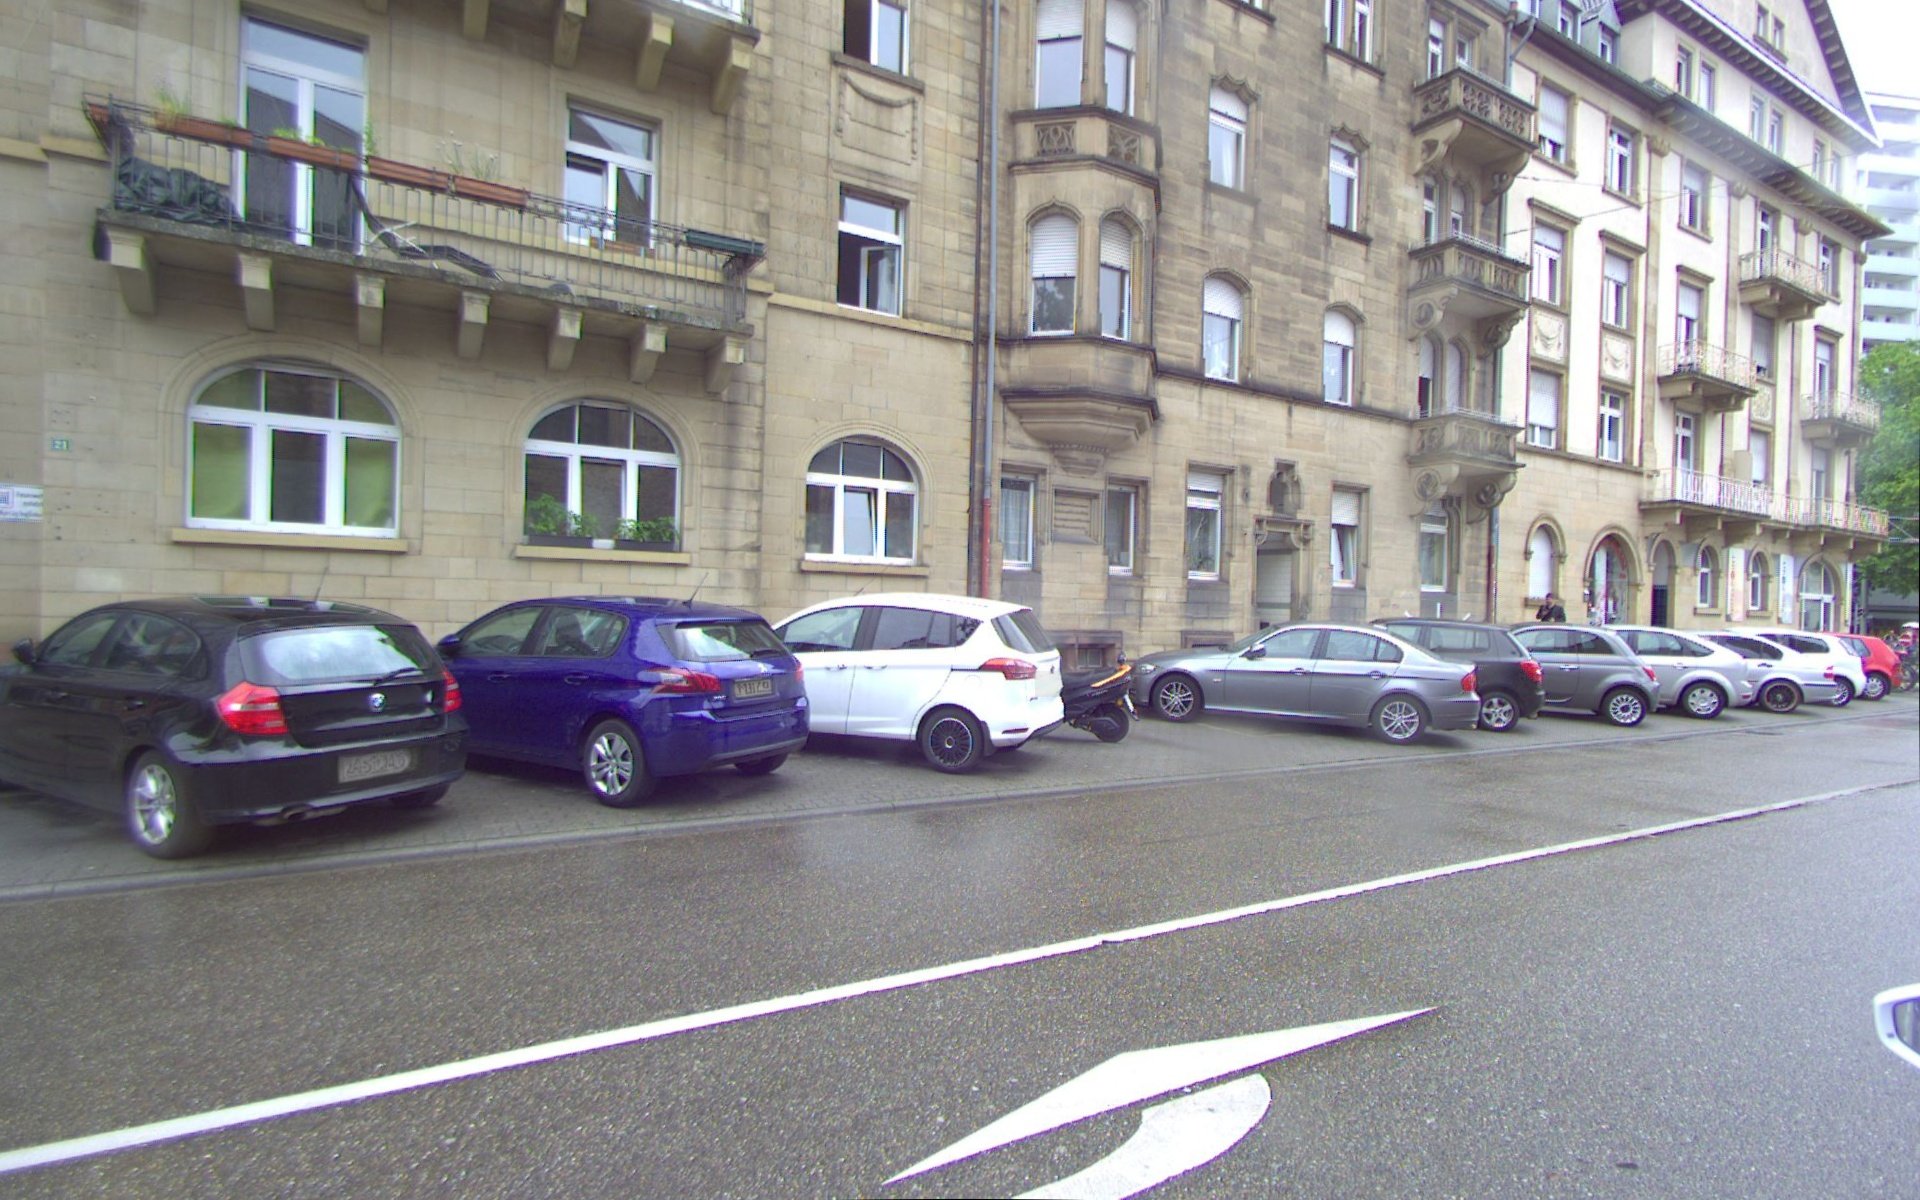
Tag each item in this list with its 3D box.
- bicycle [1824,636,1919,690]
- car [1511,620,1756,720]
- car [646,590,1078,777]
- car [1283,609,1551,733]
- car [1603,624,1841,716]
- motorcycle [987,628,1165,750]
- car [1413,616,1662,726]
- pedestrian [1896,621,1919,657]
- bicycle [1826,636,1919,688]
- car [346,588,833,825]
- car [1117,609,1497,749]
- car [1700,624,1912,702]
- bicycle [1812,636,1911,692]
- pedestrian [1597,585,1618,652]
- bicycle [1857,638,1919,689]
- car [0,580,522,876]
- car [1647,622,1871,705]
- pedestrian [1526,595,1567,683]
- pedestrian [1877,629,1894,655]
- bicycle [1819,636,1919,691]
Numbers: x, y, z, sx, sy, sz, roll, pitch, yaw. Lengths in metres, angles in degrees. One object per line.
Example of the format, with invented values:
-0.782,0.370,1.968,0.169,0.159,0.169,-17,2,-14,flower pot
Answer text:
23.479,1.607,25.868,0.493,1.283,1.801,1,-1,-31,bicycle
11.988,1.195,18.140,3.336,1.578,1.705,1,0,21,car
-0.952,0.733,10.199,3.964,1.576,1.799,1,-1,19,car
6.771,0.996,15.192,3.484,1.619,1.605,1,0,21,car
14.793,1.300,19.707,3.336,1.578,1.705,1,0,21,car
1.300,0.962,11.327,1.836,1.177,0.634,3,1,23,motorcycle
9.402,1.103,16.650,3.336,1.578,1.652,1,0,21,car
48.801,2.003,51.703,0.683,1.850,0.618,1,-1,-17,pedestrian
24.203,1.617,26.652,0.601,1.283,1.754,1,-1,-31,bicycle
-3.225,0.726,8.589,3.972,1.594,1.795,1,-1,31,car
4.446,0.951,13.340,4.457,1.565,1.689,1,-1,17,car
19.364,1.395,23.169,3.336,1.578,1.705,1,0,21,car
22.508,1.576,25.113,0.516,1.283,1.754,1,-1,-31,bicycle
18.031,0.523,27.978,0.343,1.846,0.364,2,-1,-32,pedestrian
25.136,1.684,26.764,0.601,1.283,1.754,1,-1,-31,bicycle
-5.153,0.666,6.907,3.969,1.532,1.797,1,-1,27,car
16.870,1.294,21.398,3.336,1.578,1.705,1,0,21,car
13.846,0.909,23.728,0.647,2.040,0.565,1,0,-30,pedestrian
55.964,2.523,60.754,0.631,1.550,0.443,1,0,-4,pedestrian
22.963,1.582,25.407,0.493,1.283,1.801,1,-1,-31,bicycle
